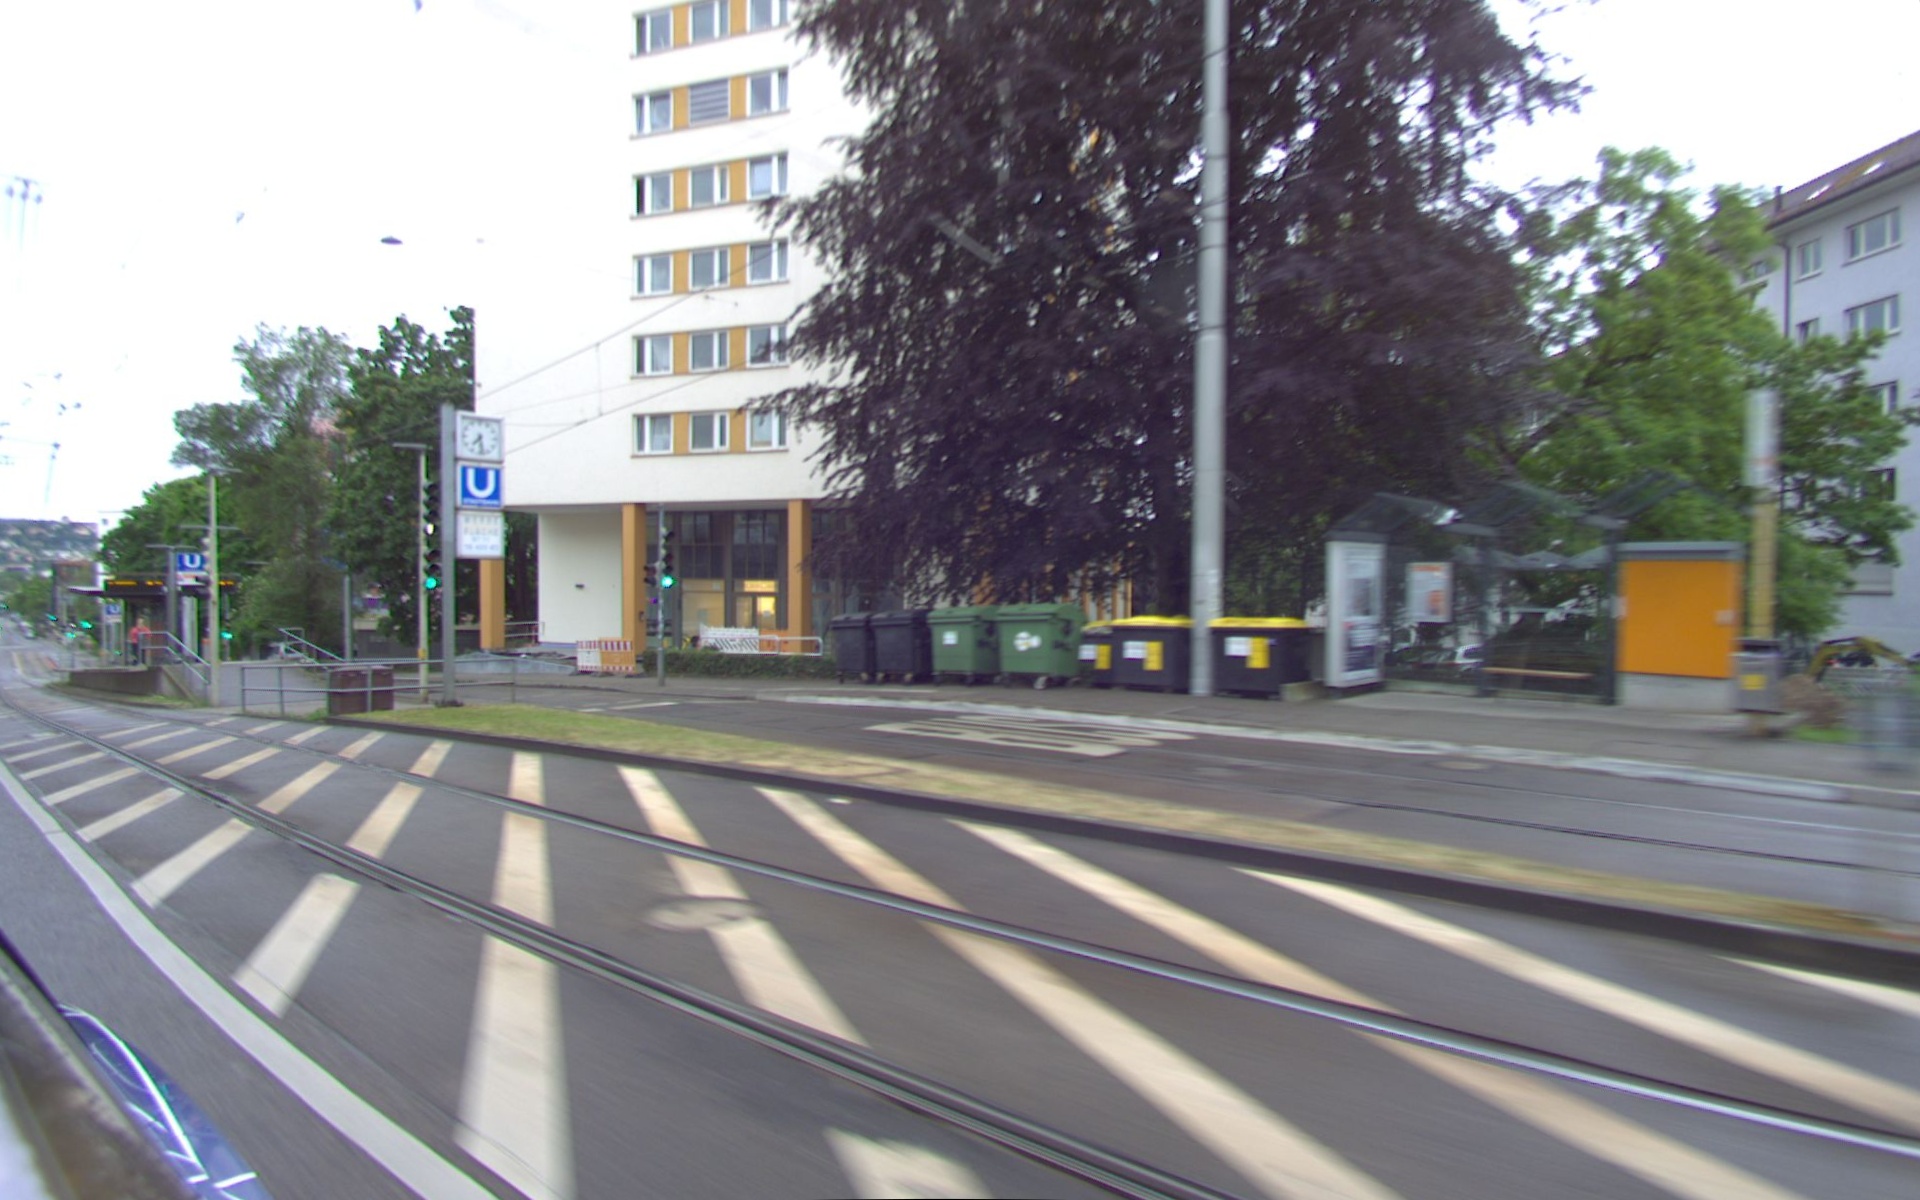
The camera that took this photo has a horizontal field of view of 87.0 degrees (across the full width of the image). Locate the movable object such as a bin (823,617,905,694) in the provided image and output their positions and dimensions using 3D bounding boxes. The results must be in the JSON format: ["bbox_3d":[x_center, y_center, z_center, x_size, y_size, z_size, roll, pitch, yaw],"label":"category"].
[{"bbox_3d":[-1.947,1.106,20.419,1.009,1.444,1.305,-3,-1,-43],"label":"movable object such as a bin"}]

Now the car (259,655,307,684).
[{"bbox_3d":[-44.189,4.532,66.013,4.442,1.730,1.727,-4,-3,44],"label":"car"}]

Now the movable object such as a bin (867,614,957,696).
[{"bbox_3d":[-0.928,1.037,19.298,1.009,1.444,1.356,-3,-1,-43],"label":"movable object such as a bin"}]

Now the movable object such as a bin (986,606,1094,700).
[{"bbox_3d":[1.332,0.876,16.943,1.009,1.444,1.429,-3,-1,-43],"label":"movable object such as a bin"}]

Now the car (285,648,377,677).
[{"bbox_3d":[-37.552,3.725,60.530,4.415,1.554,1.951,-1,-2,-24],"label":"car"}]

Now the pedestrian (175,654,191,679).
[{"bbox_3d":[-51.237,4.394,66.751,0.744,1.605,0.618,-3,-1,-43],"label":"pedestrian"}]

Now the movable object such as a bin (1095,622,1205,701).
[{"bbox_3d":[3.020,0.960,16.124,1.009,1.147,1.344,-3,-1,-43],"label":"movable object such as a bin"}]

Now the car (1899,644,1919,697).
[{"bbox_3d":[27.630,1.988,27.508,1.376,1.452,3.060,0,0,2],"label":"car"}]

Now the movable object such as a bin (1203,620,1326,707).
[{"bbox_3d":[4.448,0.911,14.805,1.009,1.147,1.344,-3,-1,-43],"label":"movable object such as a bin"}]

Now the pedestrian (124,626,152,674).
[{"bbox_3d":[-27.369,1.658,33.693,0.771,1.560,0.663,-4,-3,44],"label":"pedestrian"}]

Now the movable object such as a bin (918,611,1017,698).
[{"bbox_3d":[0.131,0.975,18.286,1.009,1.444,1.445,-3,-1,-43],"label":"movable object such as a bin"}]
